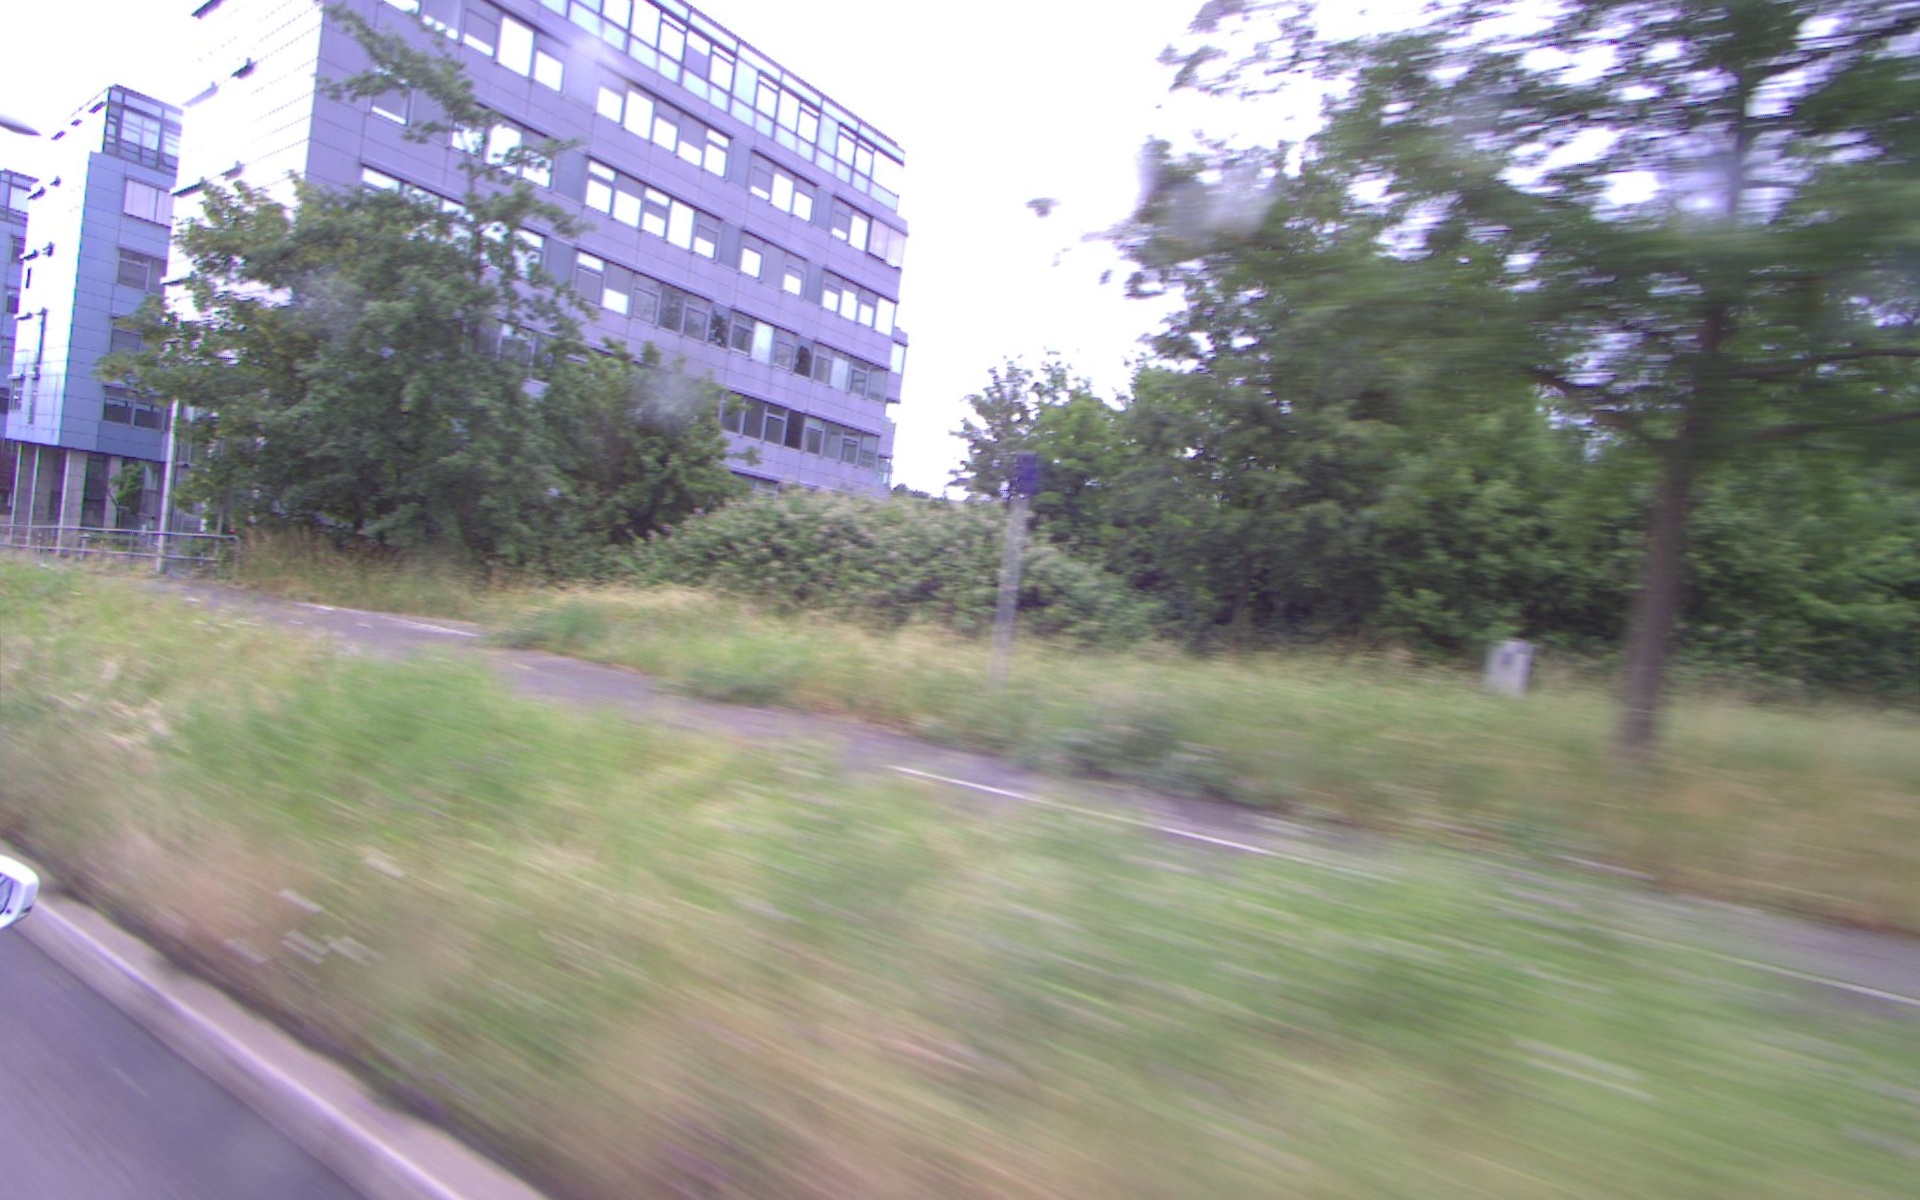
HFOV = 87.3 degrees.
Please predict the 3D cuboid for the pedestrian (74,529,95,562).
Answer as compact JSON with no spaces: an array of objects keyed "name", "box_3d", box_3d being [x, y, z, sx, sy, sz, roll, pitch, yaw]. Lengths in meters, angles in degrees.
[{"name":"pedestrian","box_3d":[-39.770,-2.479,45.706,0.450,1.425,0.503,6,-1,36]}]
